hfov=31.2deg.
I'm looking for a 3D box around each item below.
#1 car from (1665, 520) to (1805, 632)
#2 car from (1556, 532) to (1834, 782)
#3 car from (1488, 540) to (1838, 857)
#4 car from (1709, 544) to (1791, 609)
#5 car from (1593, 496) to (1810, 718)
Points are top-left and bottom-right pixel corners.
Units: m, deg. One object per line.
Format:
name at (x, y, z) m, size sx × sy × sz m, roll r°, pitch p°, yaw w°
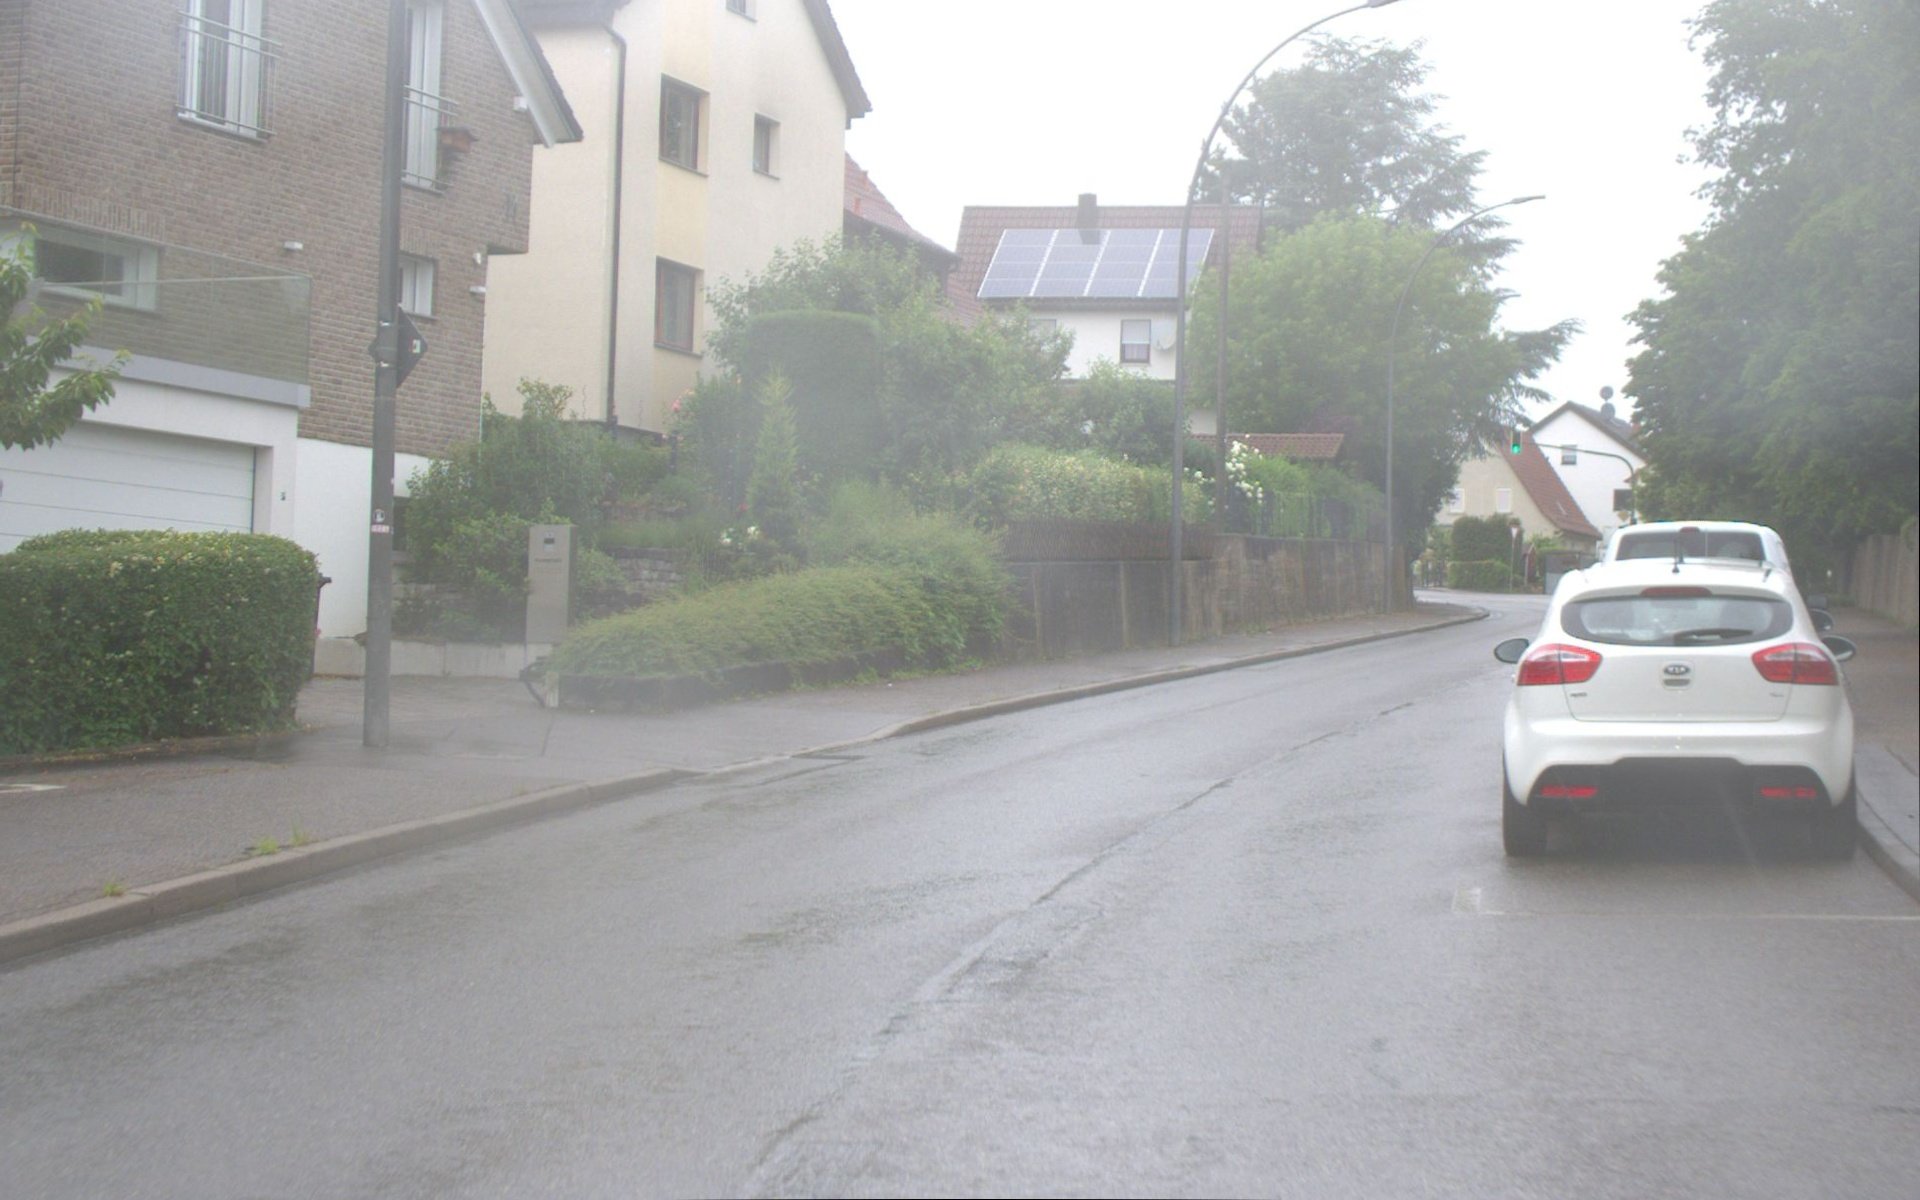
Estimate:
car at (11.360, -0.345, 50.258) m, size 1.816 × 1.568 × 3.877 m, roll 0°, pitch 0°, yaw 15°
car at (4.993, 0.307, 23.214) m, size 1.646 × 1.457 × 3.998 m, roll 1°, pitch 2°, yaw 13°
car at (3.755, 0.437, 18.404) m, size 1.612 × 1.475 × 4.036 m, roll 1°, pitch 1°, yaw 12°
car at (17.386, -0.533, 75.761) m, size 1.652 × 1.367 × 4.179 m, roll 0°, pitch 1°, yaw 12°
car at (6.340, 0.030, 29.133) m, size 1.638 × 1.735 × 4.133 m, roll 1°, pitch 1°, yaw 14°
